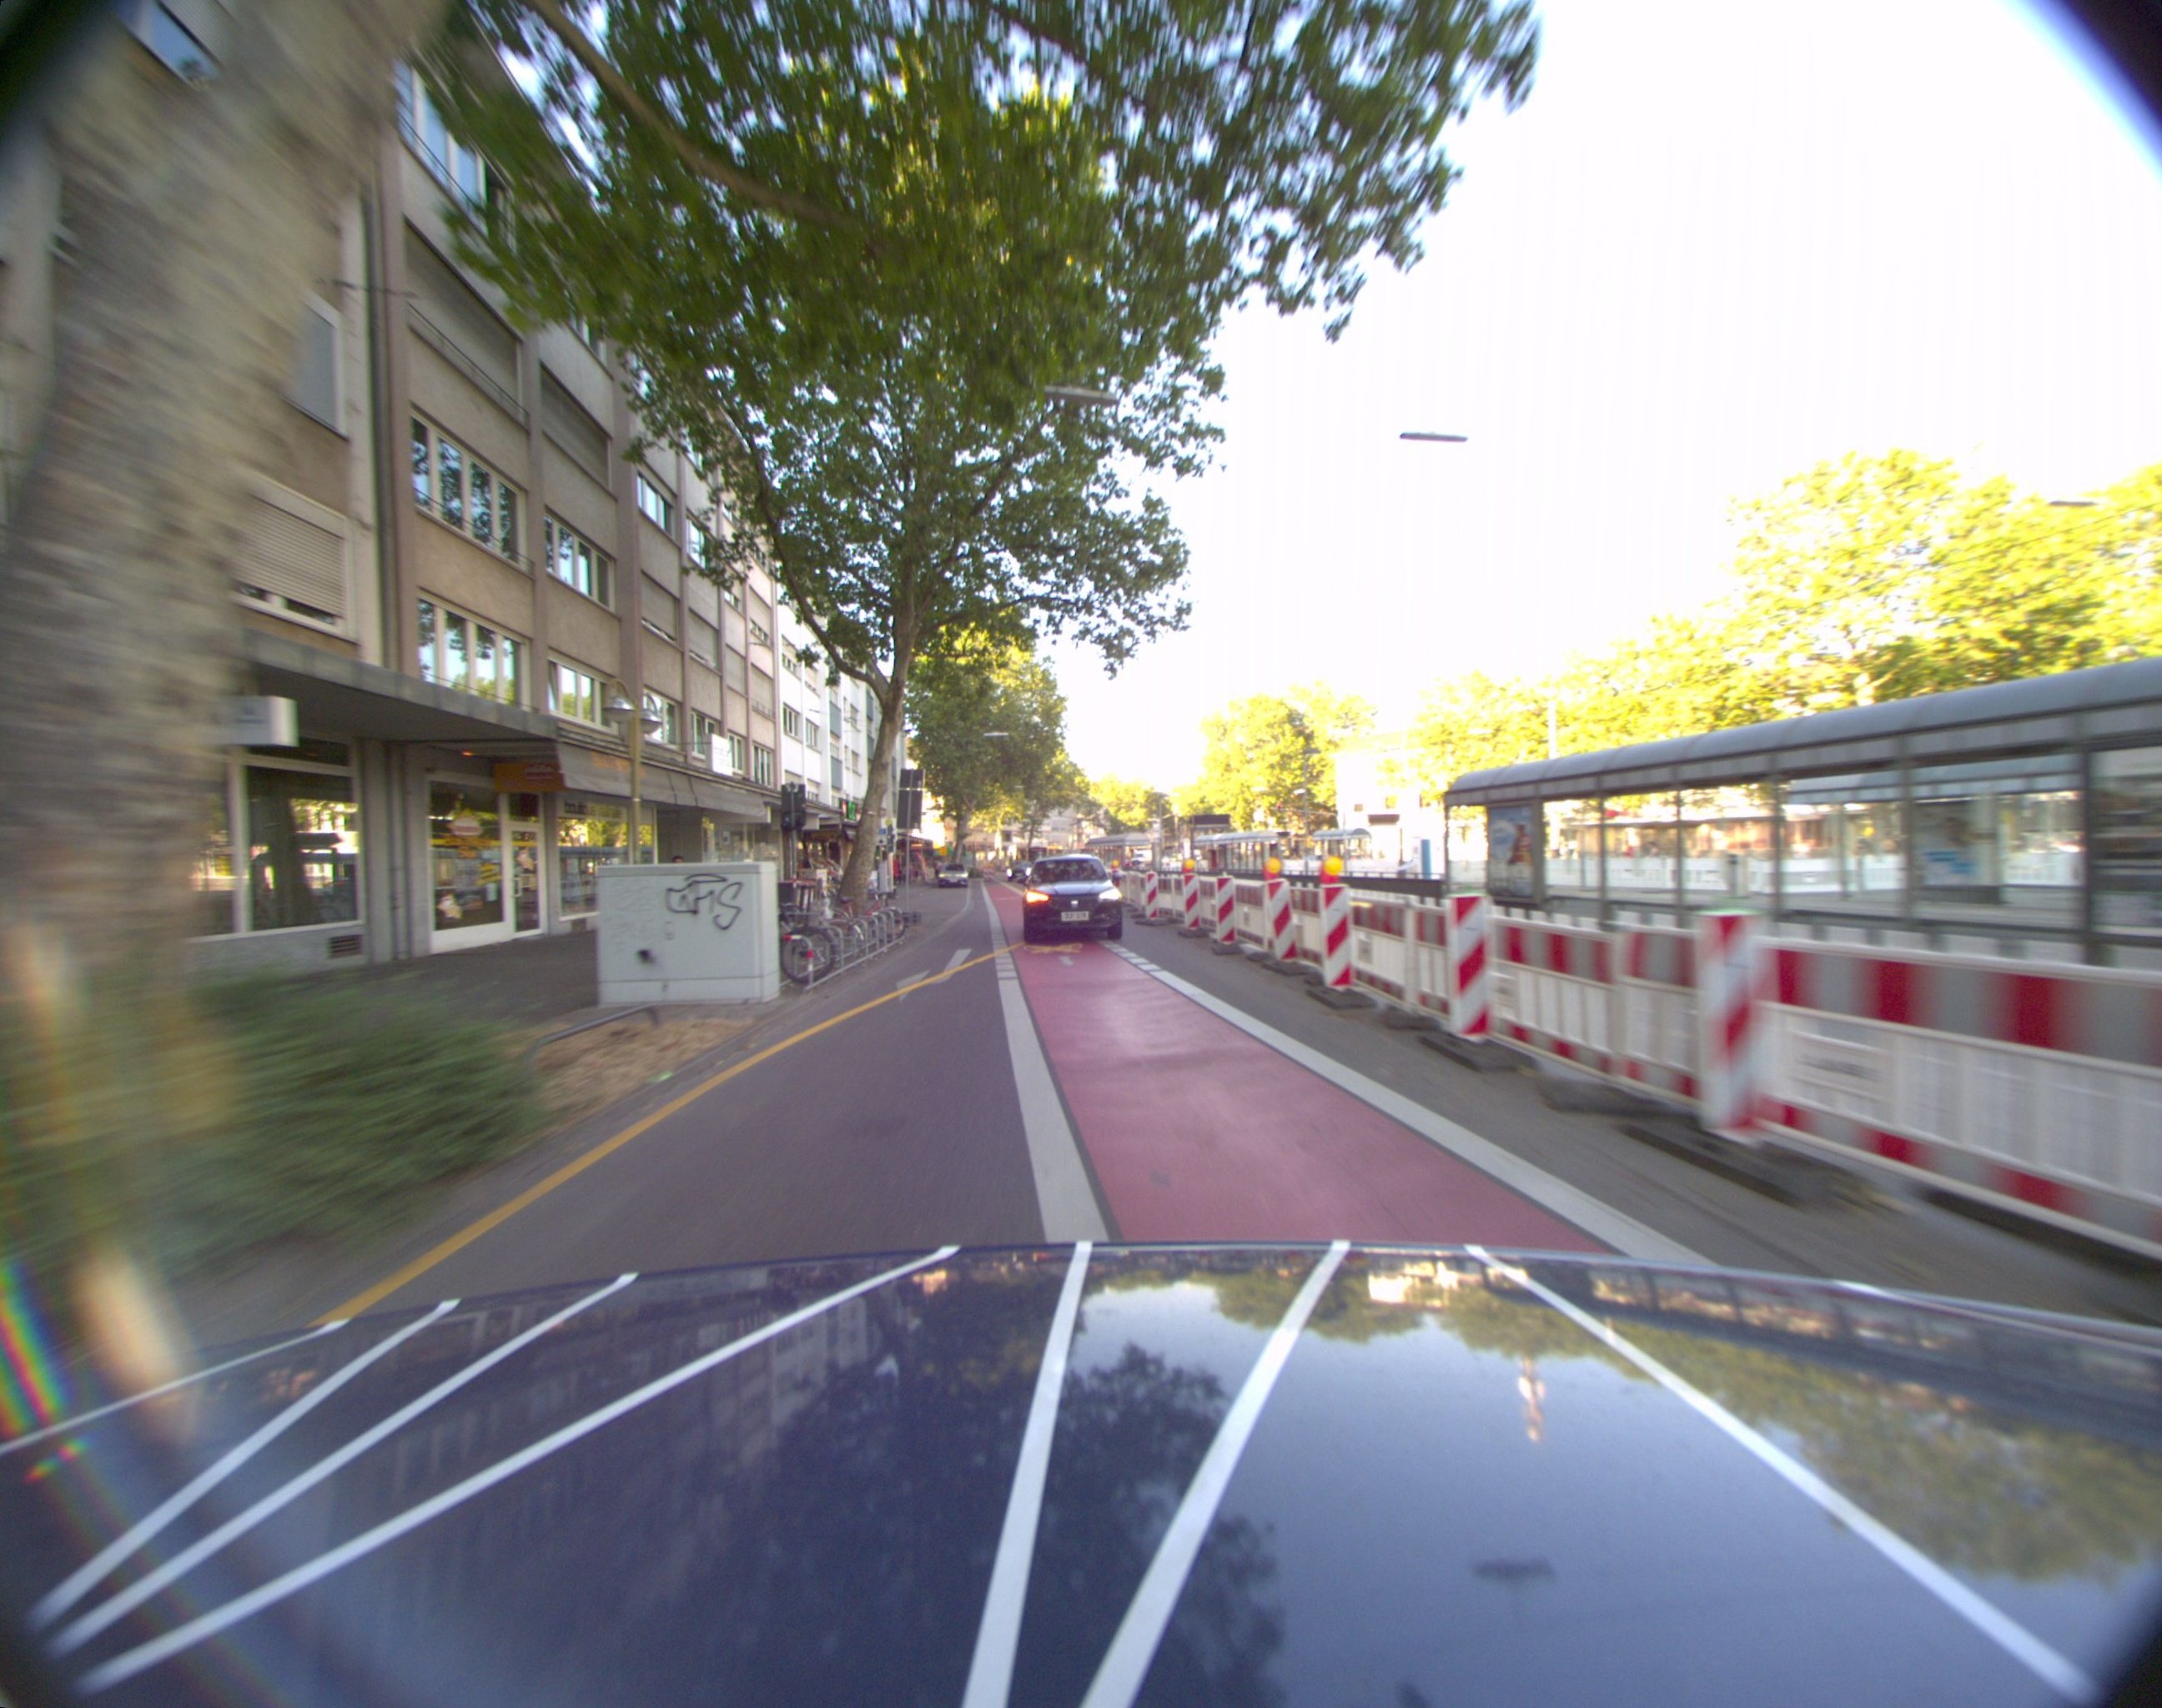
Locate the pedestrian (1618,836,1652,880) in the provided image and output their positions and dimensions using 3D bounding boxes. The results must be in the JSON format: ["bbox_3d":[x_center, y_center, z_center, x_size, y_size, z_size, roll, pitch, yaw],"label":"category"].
[{"bbox_3d":[26.039,0.191,35.740,0.887,2.002,0.883,-2,0,-4],"label":"pedestrian"}]

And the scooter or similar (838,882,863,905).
[{"bbox_3d":[-8.745,1.477,28.846,0.731,0.839,0.578,-1,0,38],"label":"scooter or similar"}]

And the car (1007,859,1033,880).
[{"bbox_3d":[-5.072,1.293,62.897,1.999,1.575,4.617,-3,-1,-5],"label":"car"}]

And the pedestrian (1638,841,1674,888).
[{"bbox_3d":[25.240,0.462,33.352,0.887,2.002,0.883,-2,0,-4],"label":"pedestrian"}]

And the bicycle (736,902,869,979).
[{"bbox_3d":[-4.057,1.250,11.164,1.718,1.052,0.644,0,0,-4],"label":"bicycle"}]

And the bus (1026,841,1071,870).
[{"bbox_3d":[-3.707,0.172,91.838,2.736,3.187,12.316,-3,0,10],"label":"bus"}]

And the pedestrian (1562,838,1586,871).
[{"bbox_3d":[30.649,0.053,47.245,0.884,2.002,0.886,-2,0,-15],"label":"pedestrian"}]

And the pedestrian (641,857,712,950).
[{"bbox_3d":[-7.420,0.879,13.981,0.846,1.663,0.989,0,0,-6],"label":"pedestrian"}]

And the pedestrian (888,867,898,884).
[{"bbox_3d":[-13.760,1.555,55.697,0.646,1.258,0.606,-1,0,-6],"label":"pedestrian"}]

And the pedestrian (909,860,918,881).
[{"bbox_3d":[-12.495,1.246,56.677,0.584,1.551,0.642,0,0,-4],"label":"pedestrian"}]

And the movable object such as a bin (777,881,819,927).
[{"bbox_3d":[-7.125,1.250,19.160,0.676,1.069,1.227,1,0,-6],"label":"movable object such as a bin"}]

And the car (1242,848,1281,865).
[{"bbox_3d":[16.980,0.269,71.742,1.685,1.565,3.384,-2,0,-30],"label":"car"}]

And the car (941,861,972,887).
[{"bbox_3d":[-8.214,1.260,50.245,1.924,1.588,4.787,-1,0,-9],"label":"car"}]

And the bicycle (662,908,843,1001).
[{"bbox_3d":[-4.144,1.251,9.725,1.993,1.052,0.770,0,0,-9],"label":"bicycle"}]

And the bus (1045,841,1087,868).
[{"bbox_3d":[-1.824,0.035,102.172,2.735,3.187,12.373,-3,0,12],"label":"bus"}]

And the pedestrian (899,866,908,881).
[{"bbox_3d":[-13.533,1.472,57.923,0.520,1.127,0.507,-1,0,-28],"label":"pedestrian"}]

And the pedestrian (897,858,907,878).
[{"bbox_3d":[-15.368,1.167,65.301,0.710,1.699,0.677,-2,1,-12],"label":"pedestrian"}]

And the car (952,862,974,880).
[{"bbox_3d":[-9.996,1.402,64.636,1.660,1.470,3.799,-1,0,-6],"label":"car"}]

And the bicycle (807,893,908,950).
[{"bbox_3d":[-4.280,1.283,14.648,1.795,1.016,0.643,0,0,-9],"label":"bicycle"}]

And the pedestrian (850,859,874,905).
[{"bbox_3d":[-8.198,1.037,28.466,0.649,1.663,0.554,-2,1,-42],"label":"pedestrian"}]

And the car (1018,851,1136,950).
[{"bbox_3d":[-0.164,0.827,15.435,1.999,1.637,4.203,-3,0,-3],"label":"car"}]
